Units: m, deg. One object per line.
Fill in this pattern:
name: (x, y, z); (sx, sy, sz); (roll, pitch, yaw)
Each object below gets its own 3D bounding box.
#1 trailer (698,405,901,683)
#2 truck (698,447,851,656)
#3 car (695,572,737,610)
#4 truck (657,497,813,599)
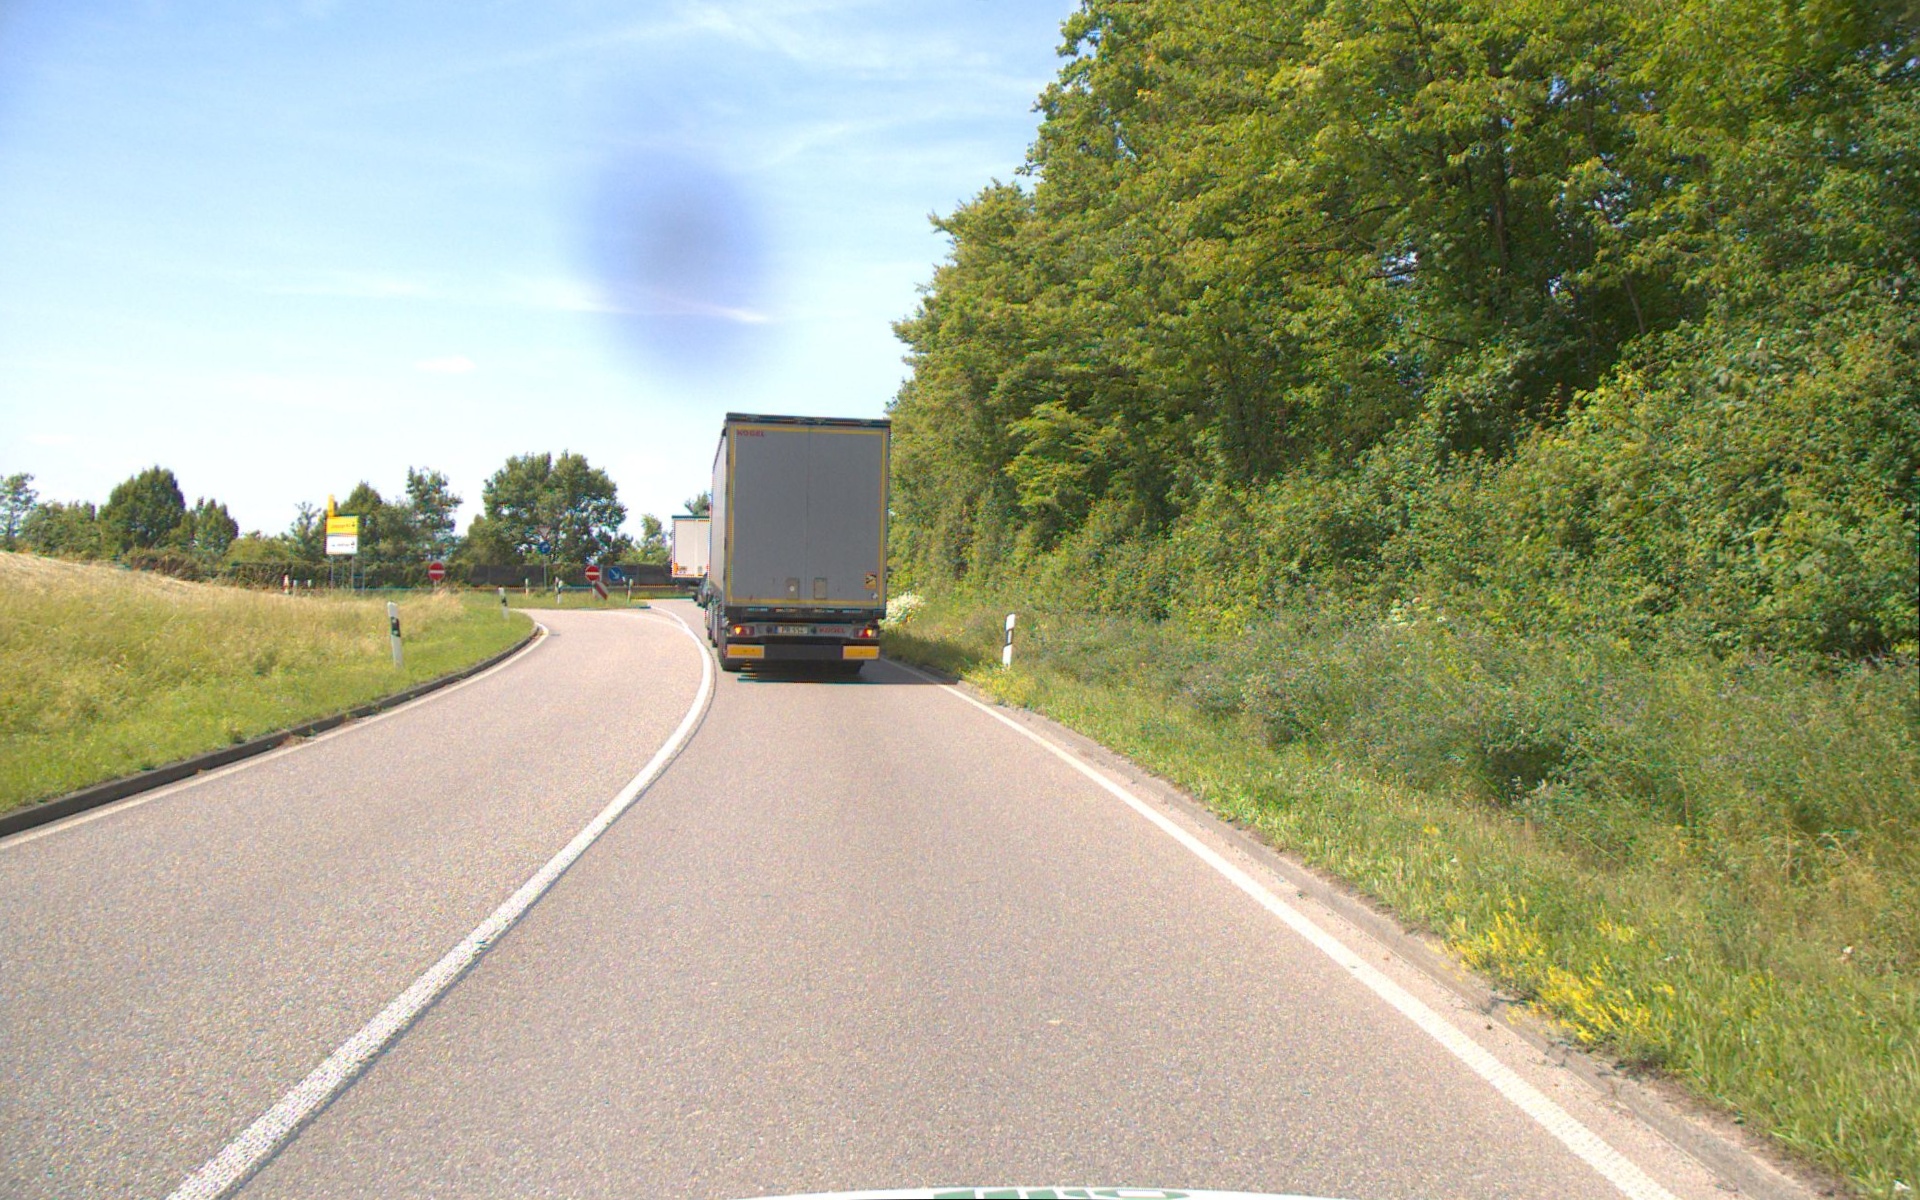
trailer: (-3.356, -0.870, 31.453); (2.970, 4.105, 13.326); (1, 0, -8)
truck: (-4.362, -1.017, 38.498); (3.093, 4.298, 7.110); (2, 0, -8)
car: (-10.032, -0.383, 67.778); (1.635, 1.512, 3.992); (0, 1, -9)
truck: (-11.394, -2.547, 86.392); (3.747, 4.827, 16.217); (0, 1, 8)
